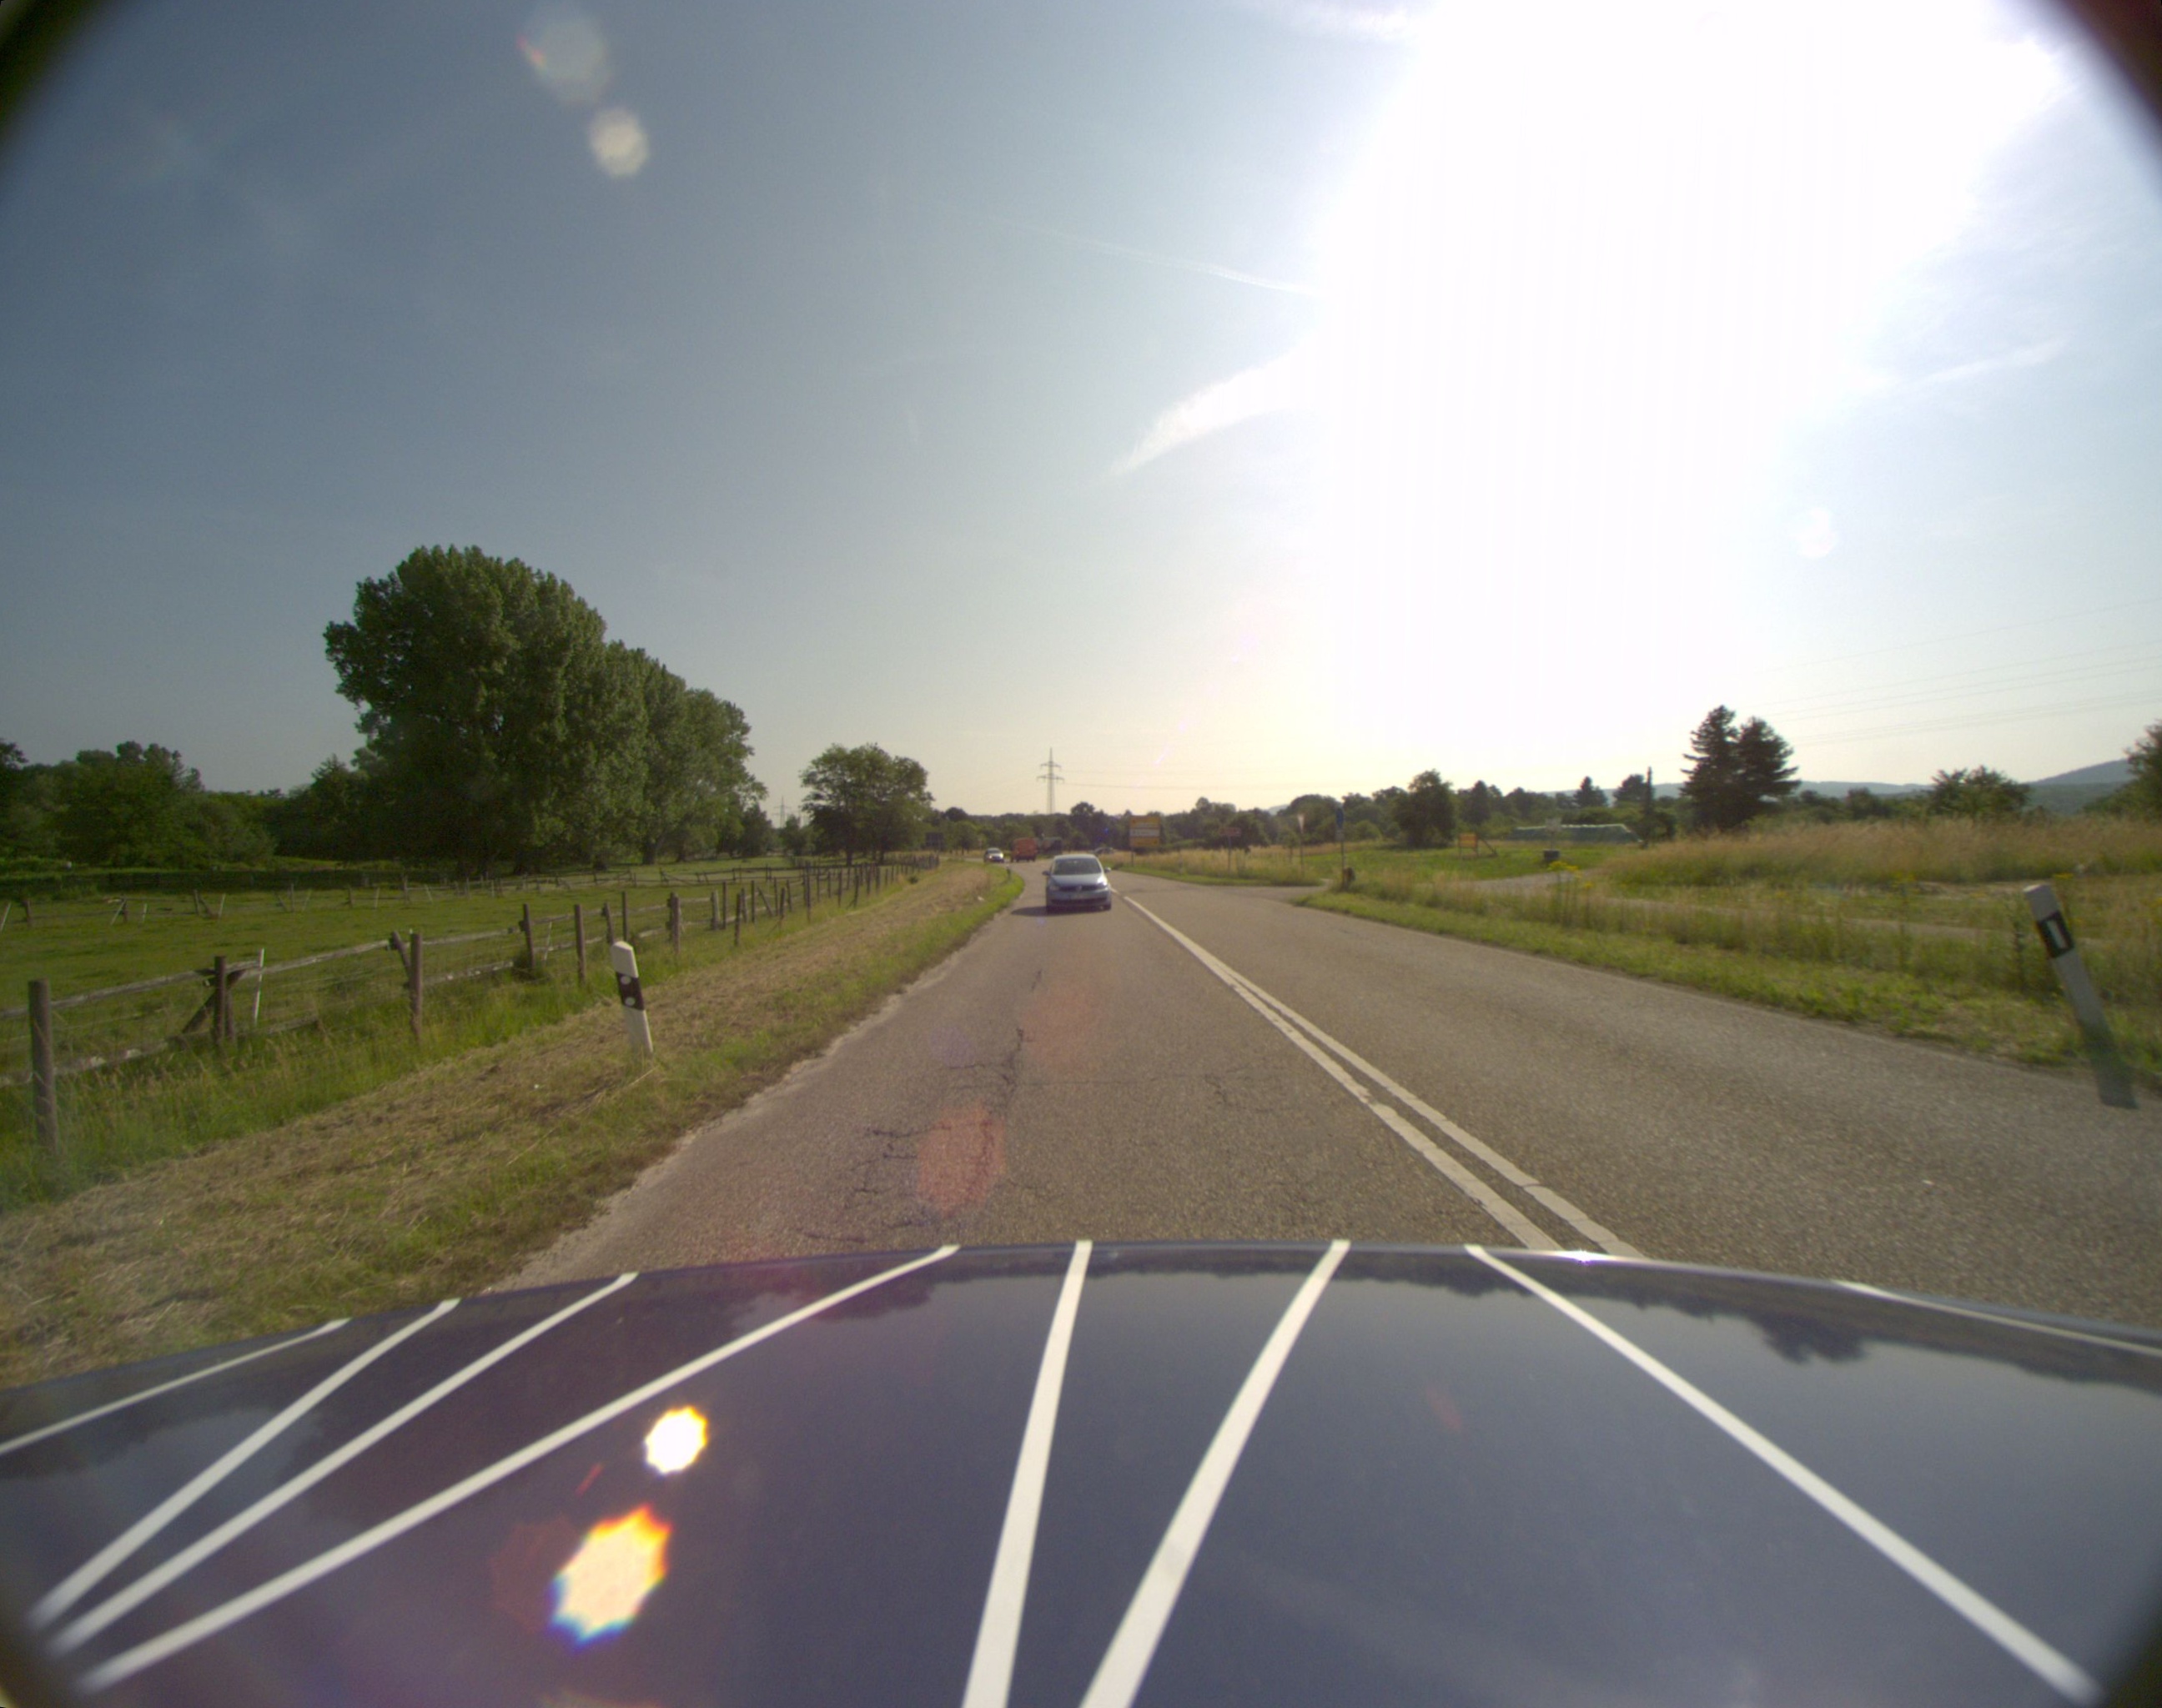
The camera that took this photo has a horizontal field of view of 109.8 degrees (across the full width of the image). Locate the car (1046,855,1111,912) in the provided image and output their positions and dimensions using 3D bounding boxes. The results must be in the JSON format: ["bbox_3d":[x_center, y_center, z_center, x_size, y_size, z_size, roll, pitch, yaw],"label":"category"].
[{"bbox_3d":[-0.158,0.819,23.190,1.718,1.495,4.092,-3,0,-3],"label":"car"}]

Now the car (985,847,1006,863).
[{"bbox_3d":[-9.241,0.079,81.705,2.000,1.571,3.905,-3,1,-9],"label":"car"}]

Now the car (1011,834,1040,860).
[{"bbox_3d":[-6.183,-0.794,84.155,2.132,2.680,5.260,-2,1,-15],"label":"car"}]

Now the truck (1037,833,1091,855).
[{"bbox_3d":[-2.454,-1.445,109.518,7.366,3.028,2.581,-2,1,-11],"label":"truck"}]
